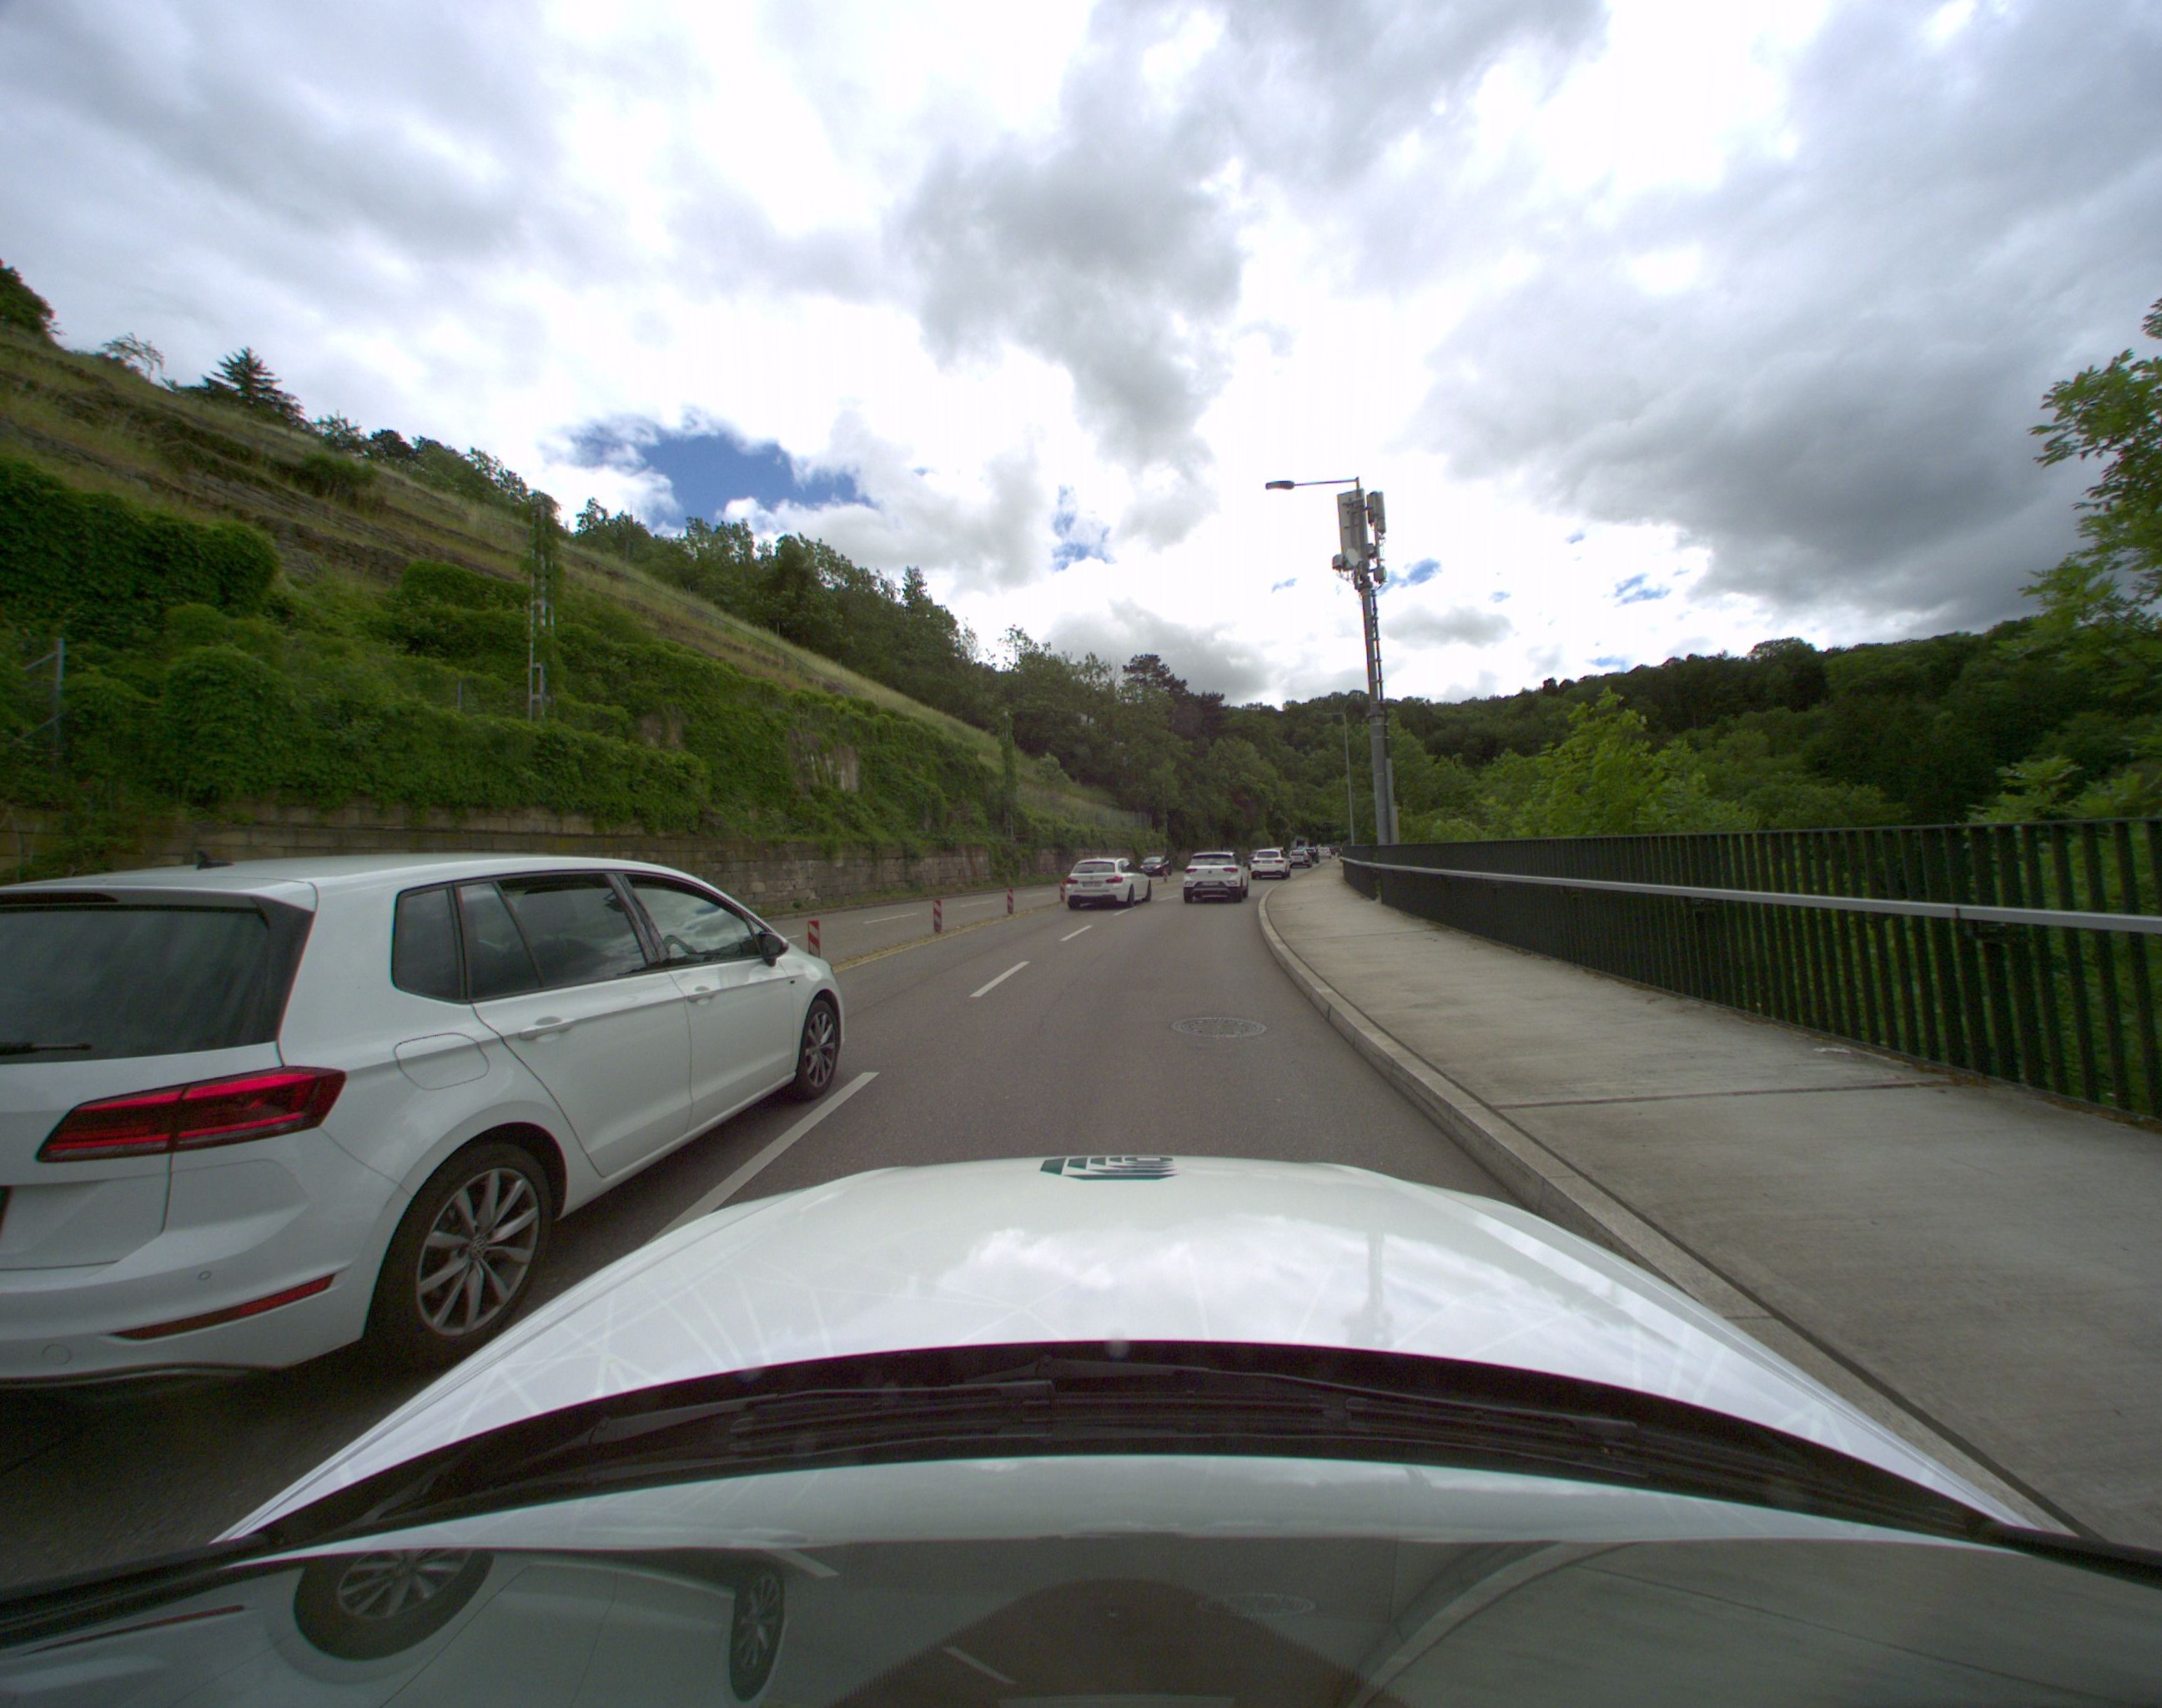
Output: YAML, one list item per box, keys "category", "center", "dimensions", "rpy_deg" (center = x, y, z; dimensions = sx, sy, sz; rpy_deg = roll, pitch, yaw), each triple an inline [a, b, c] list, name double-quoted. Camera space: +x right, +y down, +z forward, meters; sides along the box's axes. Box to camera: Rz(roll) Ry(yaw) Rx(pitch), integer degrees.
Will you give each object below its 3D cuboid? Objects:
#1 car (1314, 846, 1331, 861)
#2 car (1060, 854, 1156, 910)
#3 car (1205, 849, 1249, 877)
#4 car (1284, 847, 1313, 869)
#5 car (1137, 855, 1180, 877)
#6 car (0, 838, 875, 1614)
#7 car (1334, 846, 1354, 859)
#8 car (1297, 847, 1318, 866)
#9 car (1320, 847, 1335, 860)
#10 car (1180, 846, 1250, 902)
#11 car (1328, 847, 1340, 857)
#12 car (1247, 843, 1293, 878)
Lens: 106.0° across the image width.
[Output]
- category: "car"
  center: [31.344, -0.067, 105.826]
  dimensions: [1.978, 1.860, 4.018]
  rpy_deg: [-1, 0, 18]
- category: "car"
  center: [0.924, 0.781, 24.704]
  dimensions: [1.814, 1.459, 4.505]
  rpy_deg: [-2, 0, 16]
- category: "car"
  center: [8.649, 0.503, 48.022]
  dimensions: [1.978, 1.503, 4.688]
  rpy_deg: [3, 1, 17]
- category: "car"
  center: [17.241, 0.306, 64.408]
  dimensions: [1.978, 1.717, 4.018]
  rpy_deg: [-1, 0, 17]
- category: "car"
  center: [5.463, 0.827, 57.292]
  dimensions: [1.690, 1.442, 4.024]
  rpy_deg: [-1, 0, 26]
- category: "car"
  center: [-2.609, 0.774, 3.898]
  dimensions: [1.812, 1.580, 4.361]
  rpy_deg: [-1, 0, 5]
- category: "car"
  center: [30.789, -0.167, 95.395]
  dimensions: [1.802, 1.508, 4.014]
  rpy_deg: [-2, 0, 13]
- category: "car"
  center: [21.681, 0.217, 77.821]
  dimensions: [1.730, 1.781, 3.550]
  rpy_deg: [-1, 0, 18]
- category: "car"
  center: [39.632, -0.041, 130.878]
  dimensions: [1.977, 2.013, 4.020]
  rpy_deg: [-1, 0, 20]
- category: "car"
  center: [4.371, 0.595, 26.120]
  dimensions: [1.814, 1.606, 4.016]
  rpy_deg: [-2, 0, 15]
- category: "car"
  center: [48.929, -0.388, 157.508]
  dimensions: [1.977, 2.013, 4.020]
  rpy_deg: [-1, 0, 20]
- category: "car"
  center: [10.440, 0.370, 44.883]
  dimensions: [1.977, 1.718, 4.133]
  rpy_deg: [-4, -2, 18]
